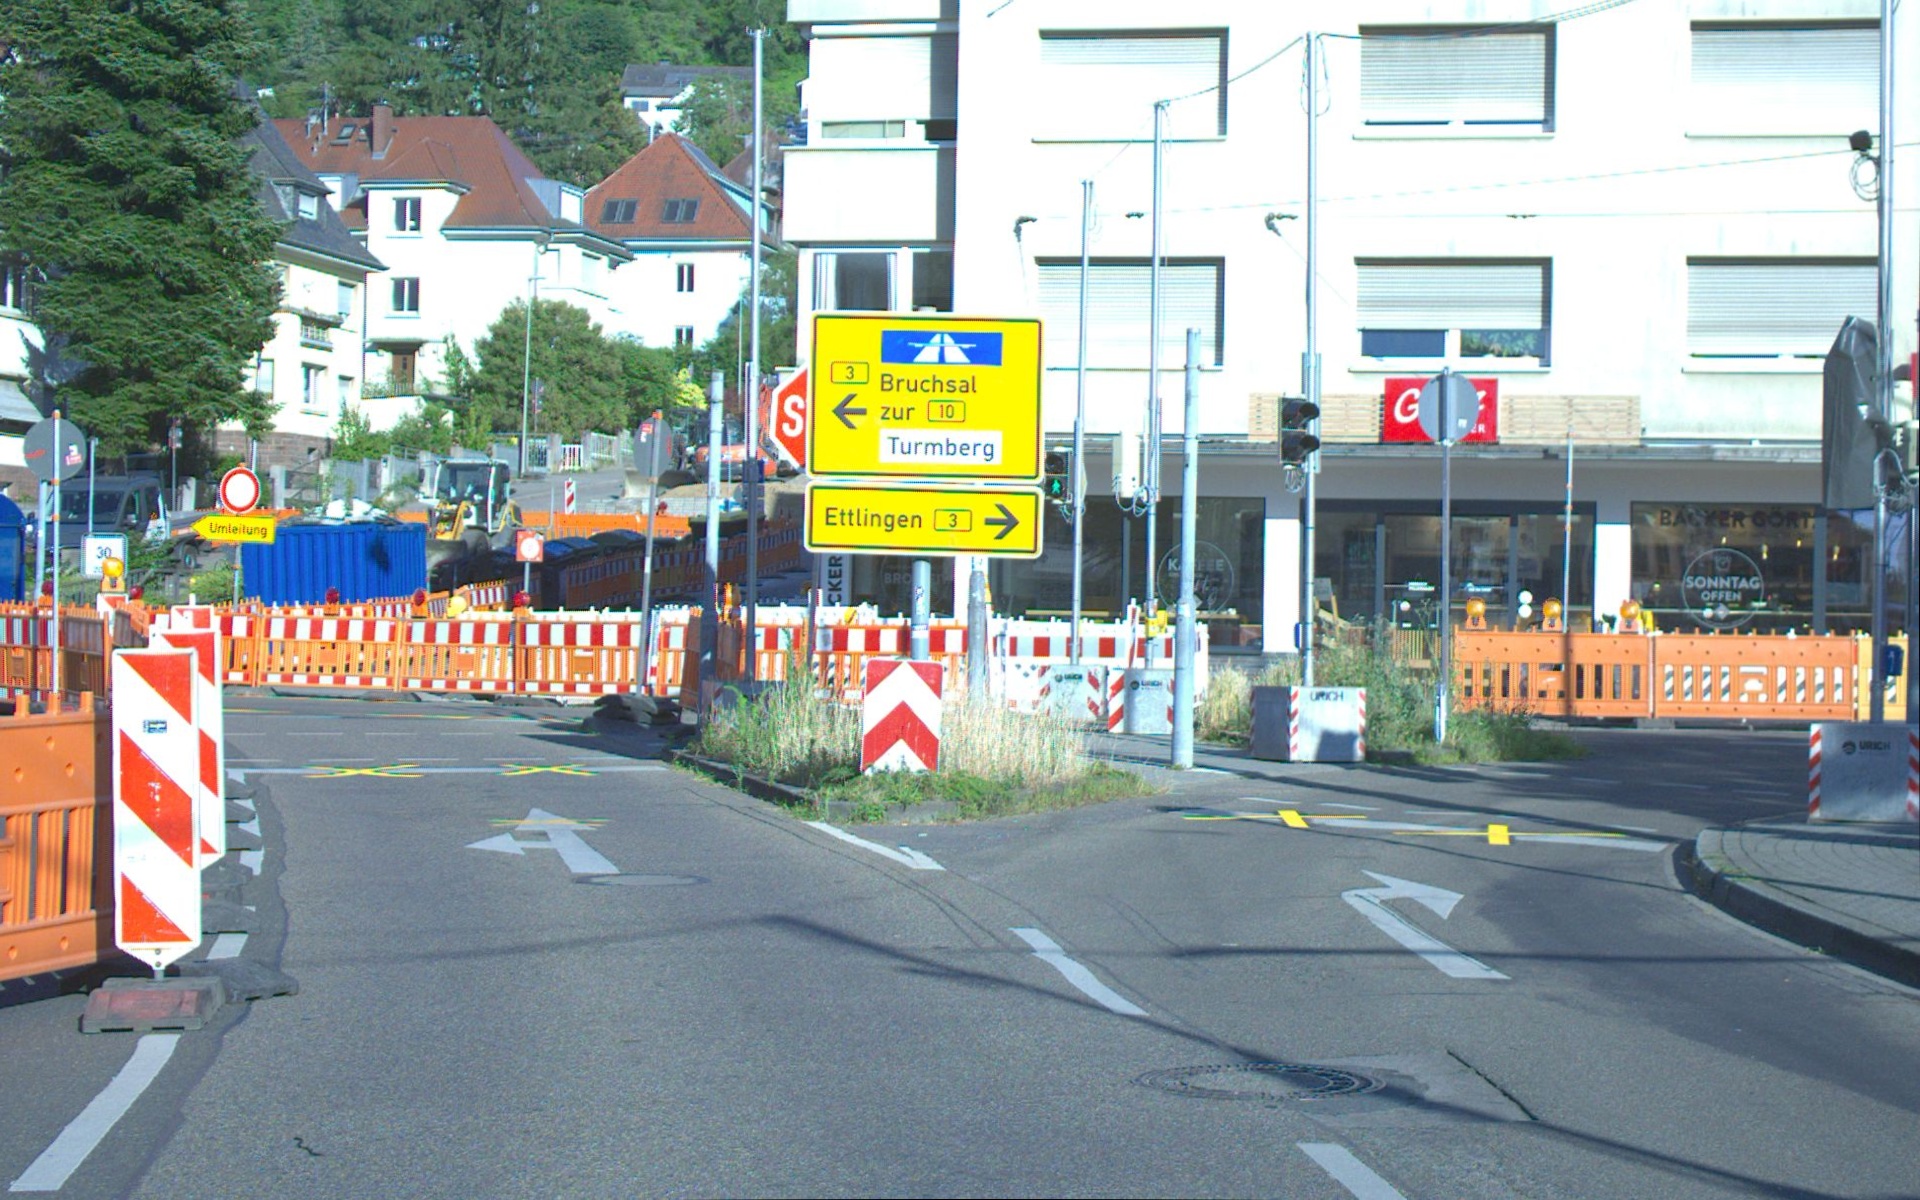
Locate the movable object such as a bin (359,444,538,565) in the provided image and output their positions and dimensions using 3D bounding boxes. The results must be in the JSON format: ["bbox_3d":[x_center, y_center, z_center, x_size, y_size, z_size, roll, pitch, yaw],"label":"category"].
[{"bbox_3d":[-11.075,-2.037,74.739,1.950,2.486,4.547,0,0,19],"label":"movable object such as a bin"}]

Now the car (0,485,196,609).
[{"bbox_3d":[-16.563,-0.905,62.064,2.586,2.113,6.145,0,0,19],"label":"car"}]

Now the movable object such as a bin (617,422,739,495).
[{"bbox_3d":[-9.019,-4.519,110.622,2.566,2.114,5.782,0,0,9],"label":"movable object such as a bin"}]
